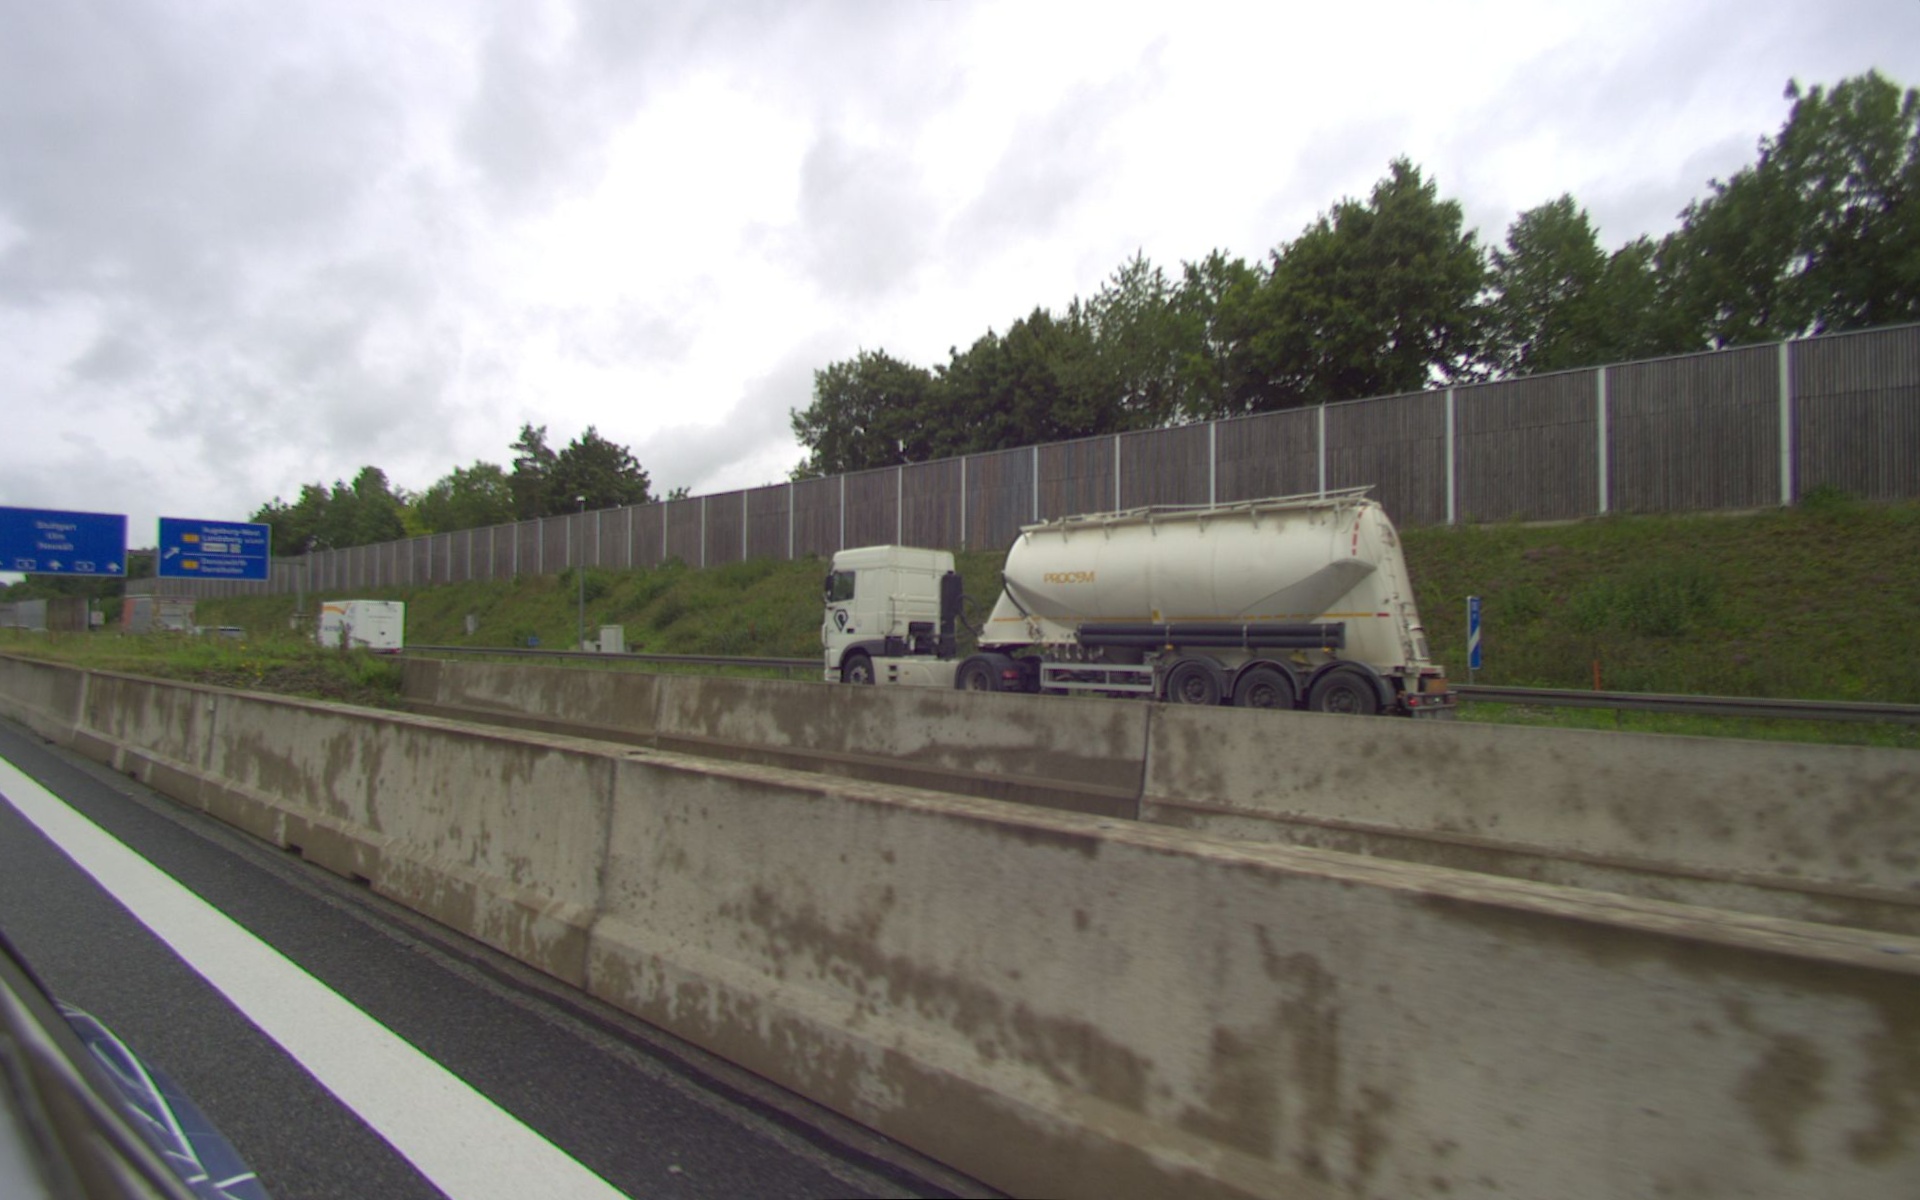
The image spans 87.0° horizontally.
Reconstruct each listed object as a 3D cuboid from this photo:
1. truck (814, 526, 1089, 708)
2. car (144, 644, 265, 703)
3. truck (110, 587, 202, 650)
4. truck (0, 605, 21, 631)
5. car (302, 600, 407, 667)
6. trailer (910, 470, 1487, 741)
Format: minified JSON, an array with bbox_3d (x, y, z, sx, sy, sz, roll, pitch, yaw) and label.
[{"bbox_3d":[-0.302,0.451,22.896,5.855,3.585,2.672,-1,-5,41],"label":"truck"},{"bbox_3d":[-25.909,2.431,34.632,5.093,1.669,2.338,-1,0,42],"label":"car"},{"bbox_3d":[-58.993,1.417,74.107,11.138,4.274,3.284,-2,-1,41],"label":"truck"},{"bbox_3d":[-103.551,1.941,108.783,7.258,2.793,2.944,-1,-2,40],"label":"truck"},{"bbox_3d":[-29.242,1.597,48.772,6.685,2.993,2.339,-1,-2,41],"label":"car"},{"bbox_3d":[3.854,0.207,19.250,10.640,3.953,2.683,-1,-4,41],"label":"trailer"}]
